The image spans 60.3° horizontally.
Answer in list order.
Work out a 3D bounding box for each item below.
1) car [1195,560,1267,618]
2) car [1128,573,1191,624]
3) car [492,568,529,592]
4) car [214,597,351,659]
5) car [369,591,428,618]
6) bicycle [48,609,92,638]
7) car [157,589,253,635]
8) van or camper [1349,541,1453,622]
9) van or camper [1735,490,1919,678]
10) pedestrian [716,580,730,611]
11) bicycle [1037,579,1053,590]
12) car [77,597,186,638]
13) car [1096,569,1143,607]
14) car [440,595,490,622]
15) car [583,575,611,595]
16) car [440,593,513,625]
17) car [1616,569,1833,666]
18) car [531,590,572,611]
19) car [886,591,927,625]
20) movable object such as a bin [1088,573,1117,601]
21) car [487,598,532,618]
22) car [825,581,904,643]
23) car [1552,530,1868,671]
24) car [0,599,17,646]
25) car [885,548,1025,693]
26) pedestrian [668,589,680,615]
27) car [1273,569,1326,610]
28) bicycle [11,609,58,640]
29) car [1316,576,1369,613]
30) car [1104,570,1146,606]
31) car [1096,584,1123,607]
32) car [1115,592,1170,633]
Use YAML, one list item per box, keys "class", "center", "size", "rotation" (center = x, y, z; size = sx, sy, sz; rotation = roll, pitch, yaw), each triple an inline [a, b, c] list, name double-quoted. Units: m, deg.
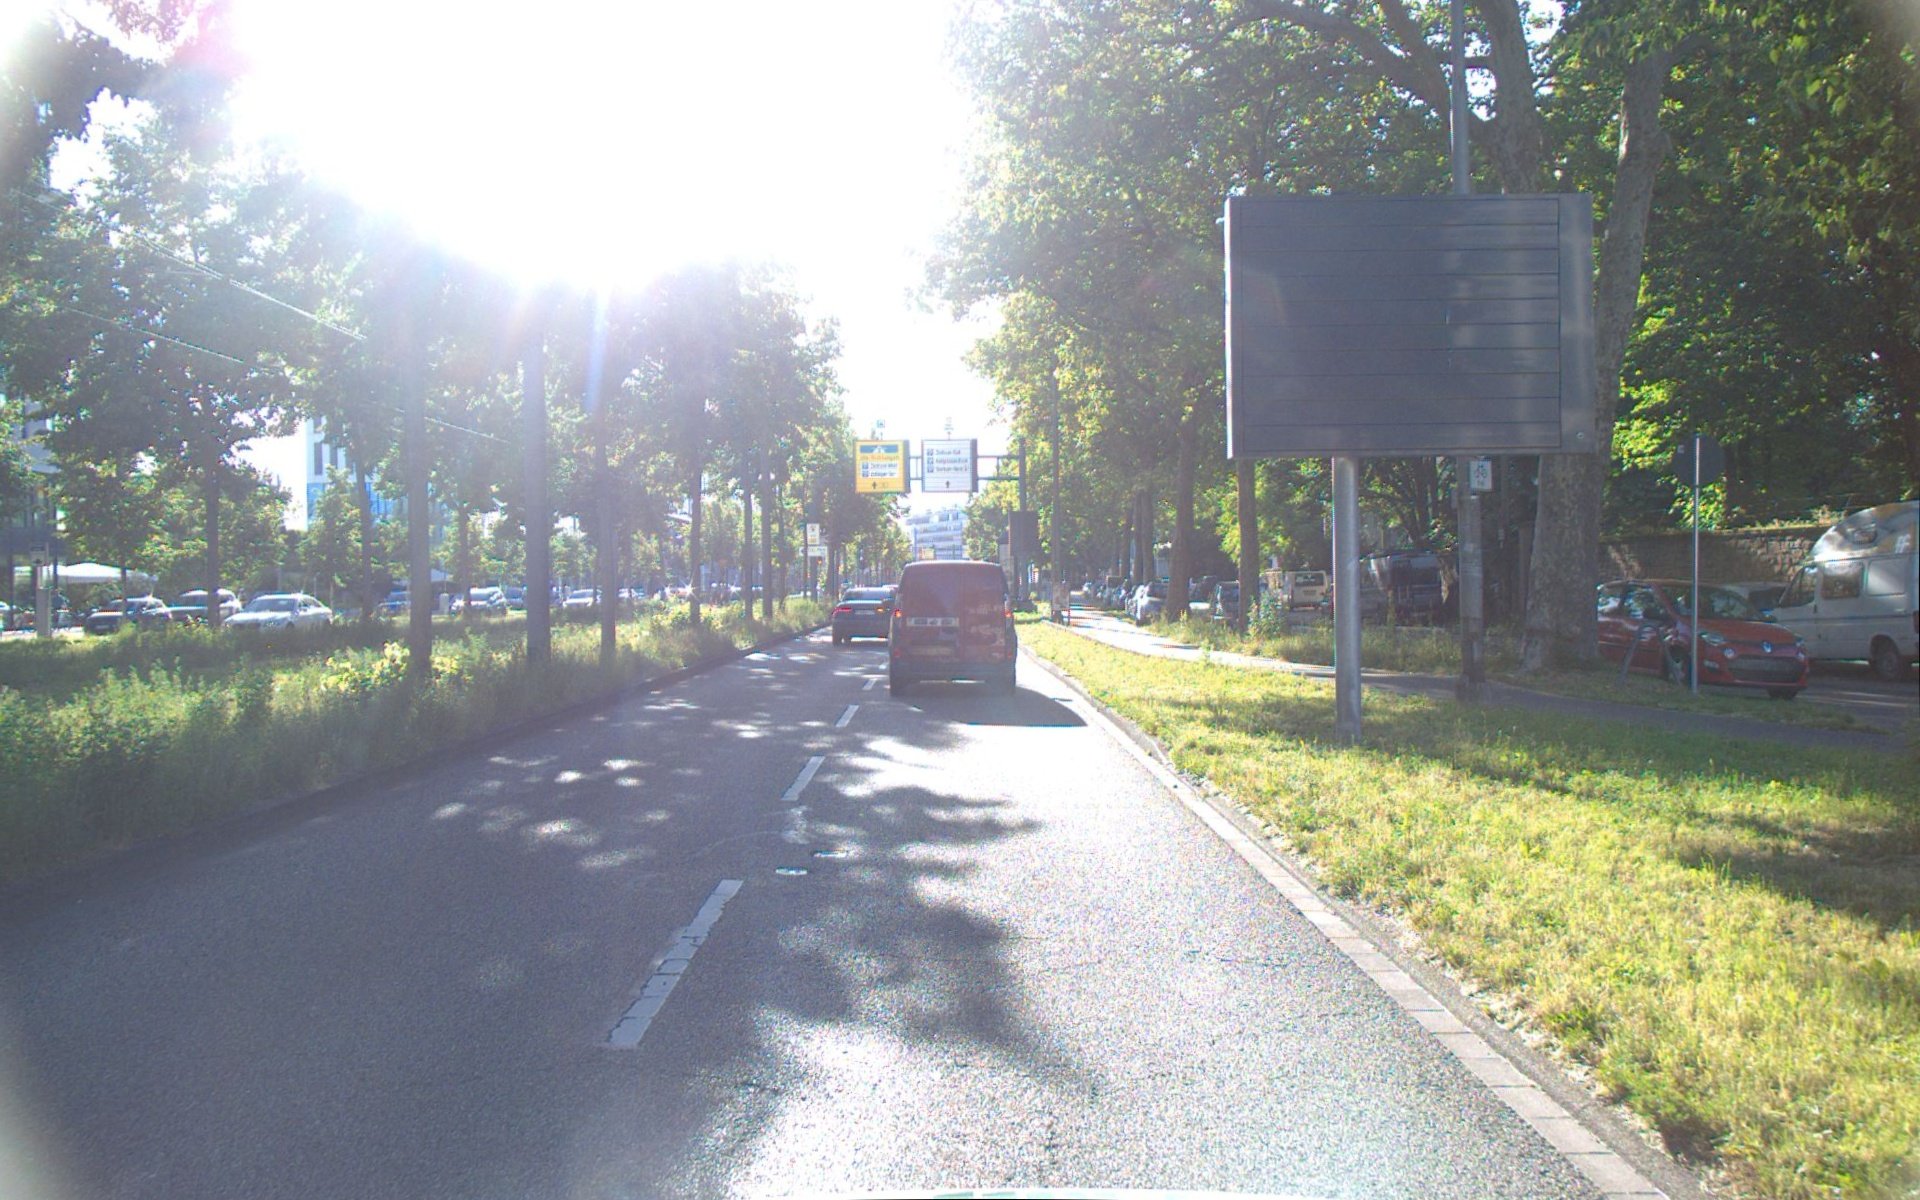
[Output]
- class: "car"
  center: [8.211, -0.316, 50.425]
  size: [1.755, 1.663, 4.629]
  rotation: [1, 0, 4]
- class: "car"
  center: [6.745, -0.046, 56.218]
  size: [1.756, 1.587, 4.021]
  rotation: [3, 0, 3]
- class: "car"
  center: [-38.907, -1.721, 143.249]
  size: [1.952, 2.049, 4.563]
  rotation: [1, 0, 1]
- class: "car"
  center: [-19.831, 0.781, 48.671]
  size: [1.953, 1.715, 5.109]
  rotation: [1, 0, -1]
- class: "car"
  center: [-31.761, 0.236, 93.719]
  size: [1.841, 1.460, 4.609]
  rotation: [1, 0, -1]
- class: "bicycle"
  center: [-38.247, 1.005, 71.122]
  size: [0.718, 1.219, 2.240]
  rotation: [1, 0, -1]
- class: "car"
  center: [-31.211, 0.490, 68.540]
  size: [1.954, 1.803, 4.774]
  rotation: [1, 0, -3]
- class: "van or camper"
  center: [16.442, -0.707, 62.055]
  size: [2.503, 2.731, 6.568]
  rotation: [-3, 1, 4]
- class: "van or camper"
  center: [14.968, -0.293, 26.997]
  size: [1.954, 2.778, 4.961]
  rotation: [-3, 0, -3]
- class: "pedestrian"
  center: [-14.809, -0.276, 103.356]
  size: [0.804, 1.868, 0.726]
  rotation: [1, 0, -3]
- class: "bicycle"
  center: [9.814, -1.819, 191.349]
  size: [1.742, 1.290, 0.479]
  rotation: [1, 0, 0]
- class: "car"
  center: [-30.997, 0.633, 62.021]
  size: [1.918, 1.466, 4.265]
  rotation: [1, 0, 0]
- class: "car"
  center: [8.981, -0.683, 93.586]
  size: [2.145, 2.049, 5.820]
  rotation: [1, 0, 1]
- class: "car"
  center: [-32.127, 0.535, 107.479]
  size: [1.840, 1.649, 4.611]
  rotation: [1, 0, 1]
- class: "car"
  center: [-38.791, -1.571, 176.743]
  size: [1.952, 2.049, 4.563]
  rotation: [1, 0, 1]
- class: "car"
  center: [-23.180, 0.405, 79.458]
  size: [1.952, 1.466, 4.704]
  rotation: [1, 0, 2]
- class: "car"
  center: [14.856, 0.307, 32.382]
  size: [1.807, 1.645, 3.989]
  rotation: [-4, 1, -11]
- class: "car"
  center: [-31.899, 0.032, 129.329]
  size: [1.952, 1.636, 4.611]
  rotation: [1, 0, 1]
- class: "car"
  center: [-2.680, 0.377, 83.505]
  size: [1.953, 1.646, 4.000]
  rotation: [1, 0, 0]
- class: "movable object such as a bin"
  center: [10.539, -0.965, 122.112]
  size: [2.038, 2.049, 2.137]
  rotation: [1, 0, 3]
- class: "car"
  center: [-31.829, 0.549, 117.075]
  size: [1.873, 1.348, 4.611]
  rotation: [1, 0, 1]
- class: "car"
  center: [-2.349, 0.297, 41.533]
  size: [1.755, 1.453, 4.000]
  rotation: [1, 0, 0]
- class: "car"
  center: [9.793, 0.008, 21.969]
  size: [1.957, 1.668, 3.992]
  rotation: [1, 0, -9]
- class: "car"
  center: [-31.236, 0.707, 50.928]
  size: [1.954, 1.466, 4.453]
  rotation: [1, 0, -3]
- class: "car"
  center: [-0.152, 0.268, 23.602]
  size: [1.772, 1.870, 3.997]
  rotation: [1, 0, -3]
- class: "pedestrian"
  center: [-17.460, 0.120, 101.033]
  size: [0.538, 1.545, 0.589]
  rotation: [1, 0, 4]
- class: "car"
  center: [17.487, -0.542, 85.455]
  size: [2.043, 2.049, 4.945]
  rotation: [0, 0, 4]
- class: "bicycle"
  center: [-38.258, 1.004, 68.393]
  size: [0.718, 1.219, 2.240]
  rotation: [1, 0, -1]
- class: "car"
  center: [16.667, -0.235, 72.226]
  size: [1.654, 1.497, 3.760]
  rotation: [-3, 0, 5]
- class: "car"
  center: [8.053, -0.580, 80.971]
  size: [1.701, 1.670, 4.353]
  rotation: [1, 0, 1]
- class: "car"
  center: [10.066, -0.313, 111.734]
  size: [1.627, 1.527, 2.990]
  rotation: [1, 0, 2]
- class: "car"
  center: [6.958, 0.467, 63.377]
  size: [1.756, 1.463, 3.885]
  rotation: [1, 0, 1]
